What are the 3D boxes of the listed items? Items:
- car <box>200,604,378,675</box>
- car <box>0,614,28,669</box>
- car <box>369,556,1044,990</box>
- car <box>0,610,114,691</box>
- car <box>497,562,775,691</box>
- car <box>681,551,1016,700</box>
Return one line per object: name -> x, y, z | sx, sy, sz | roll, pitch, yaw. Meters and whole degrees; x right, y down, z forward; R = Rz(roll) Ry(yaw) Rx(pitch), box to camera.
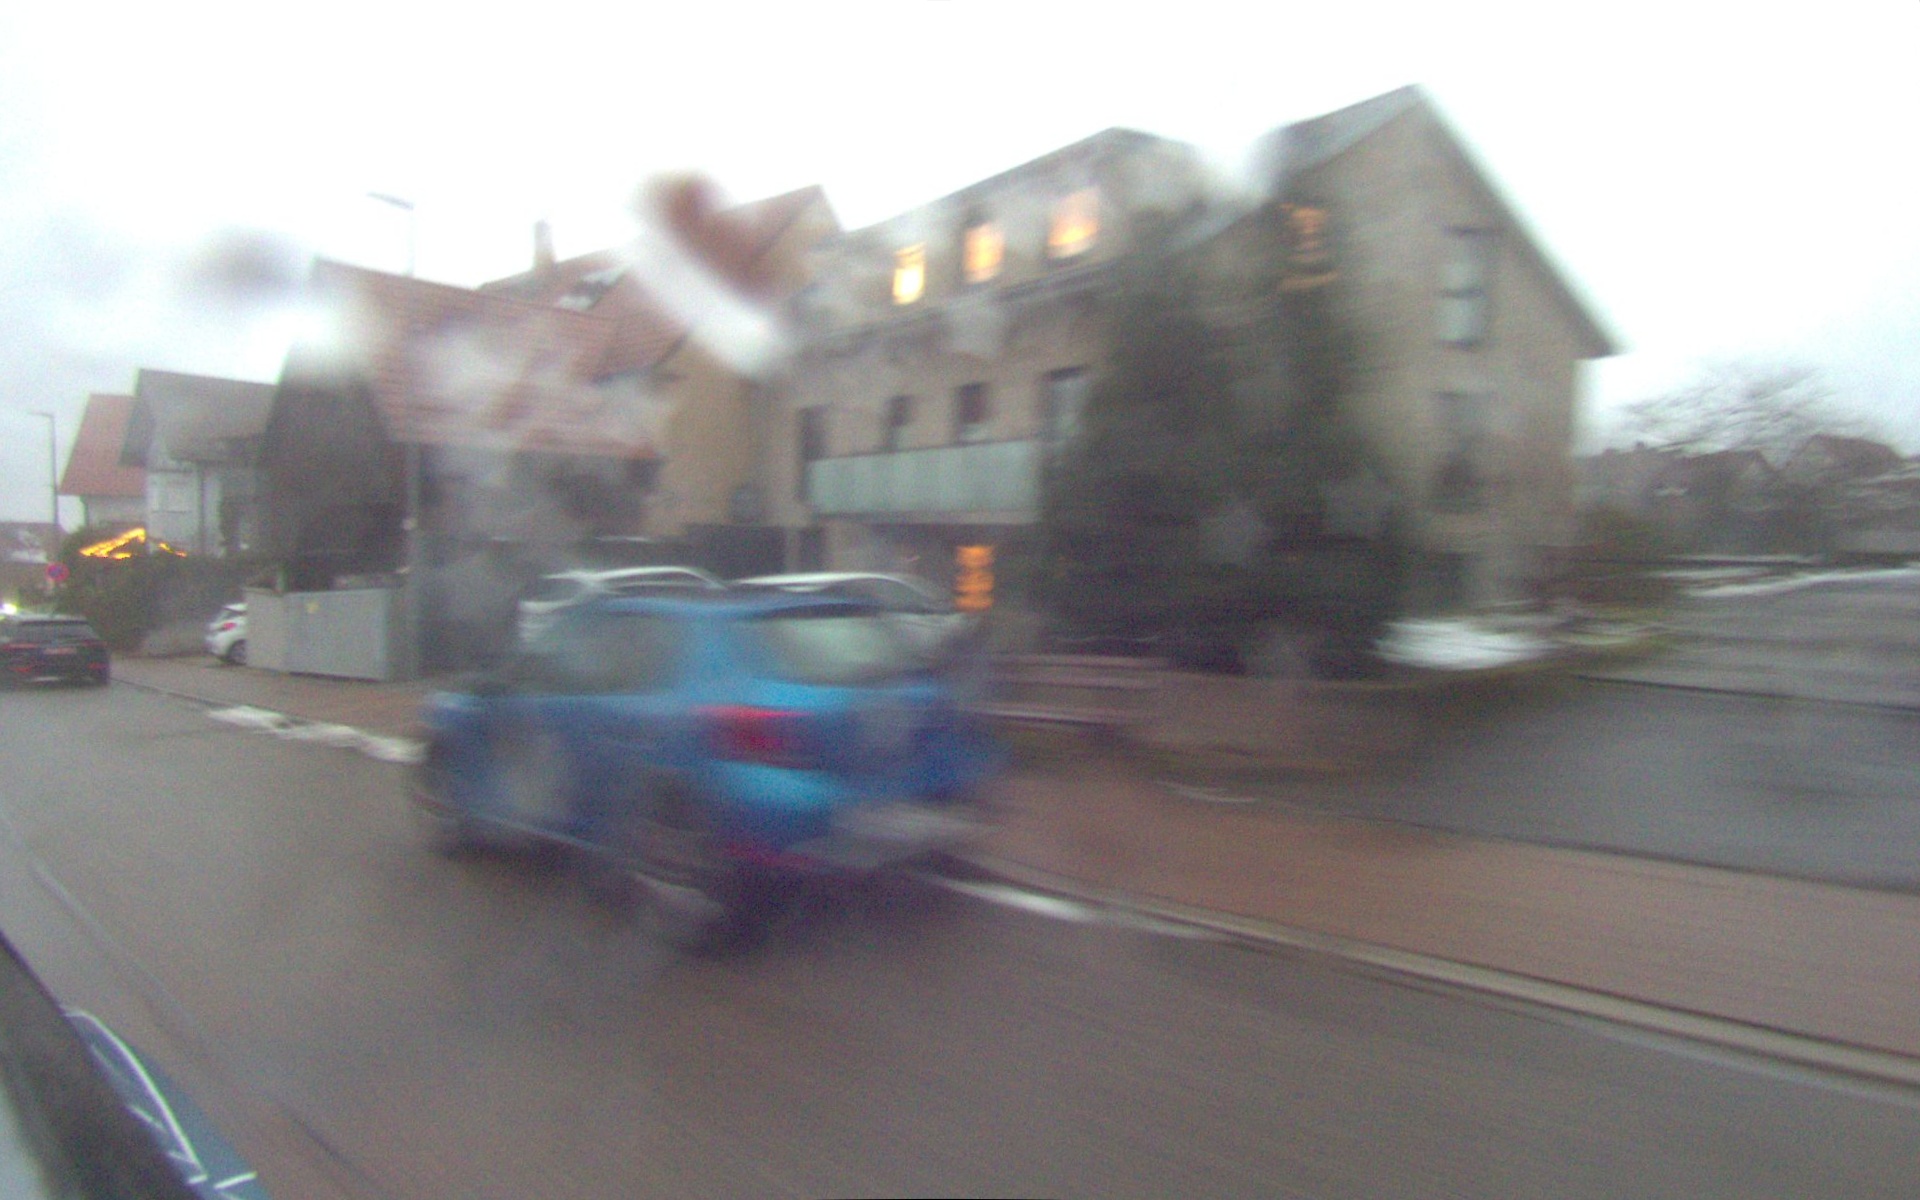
car -> -16.792, 0.933, 25.417 | 3.424, 1.539, 1.775 | -2, 1, -45
car -> -27.802, 1.168, 28.732 | 3.655, 1.449, 1.601 | 0, 0, 41
car -> -1.689, 0.622, 5.732 | 4.174, 1.596, 1.666 | 0, 0, 42
car -> -19.147, 0.958, 20.891 | 5.073, 1.405, 1.858 | 0, 0, 42
car -> -5.366, 0.323, 17.082 | 2.001, 1.759, 3.943 | 1, 5, 44
car -> -1.337, 0.225, 13.077 | 3.939, 1.630, 1.891 | -2, 1, -42
